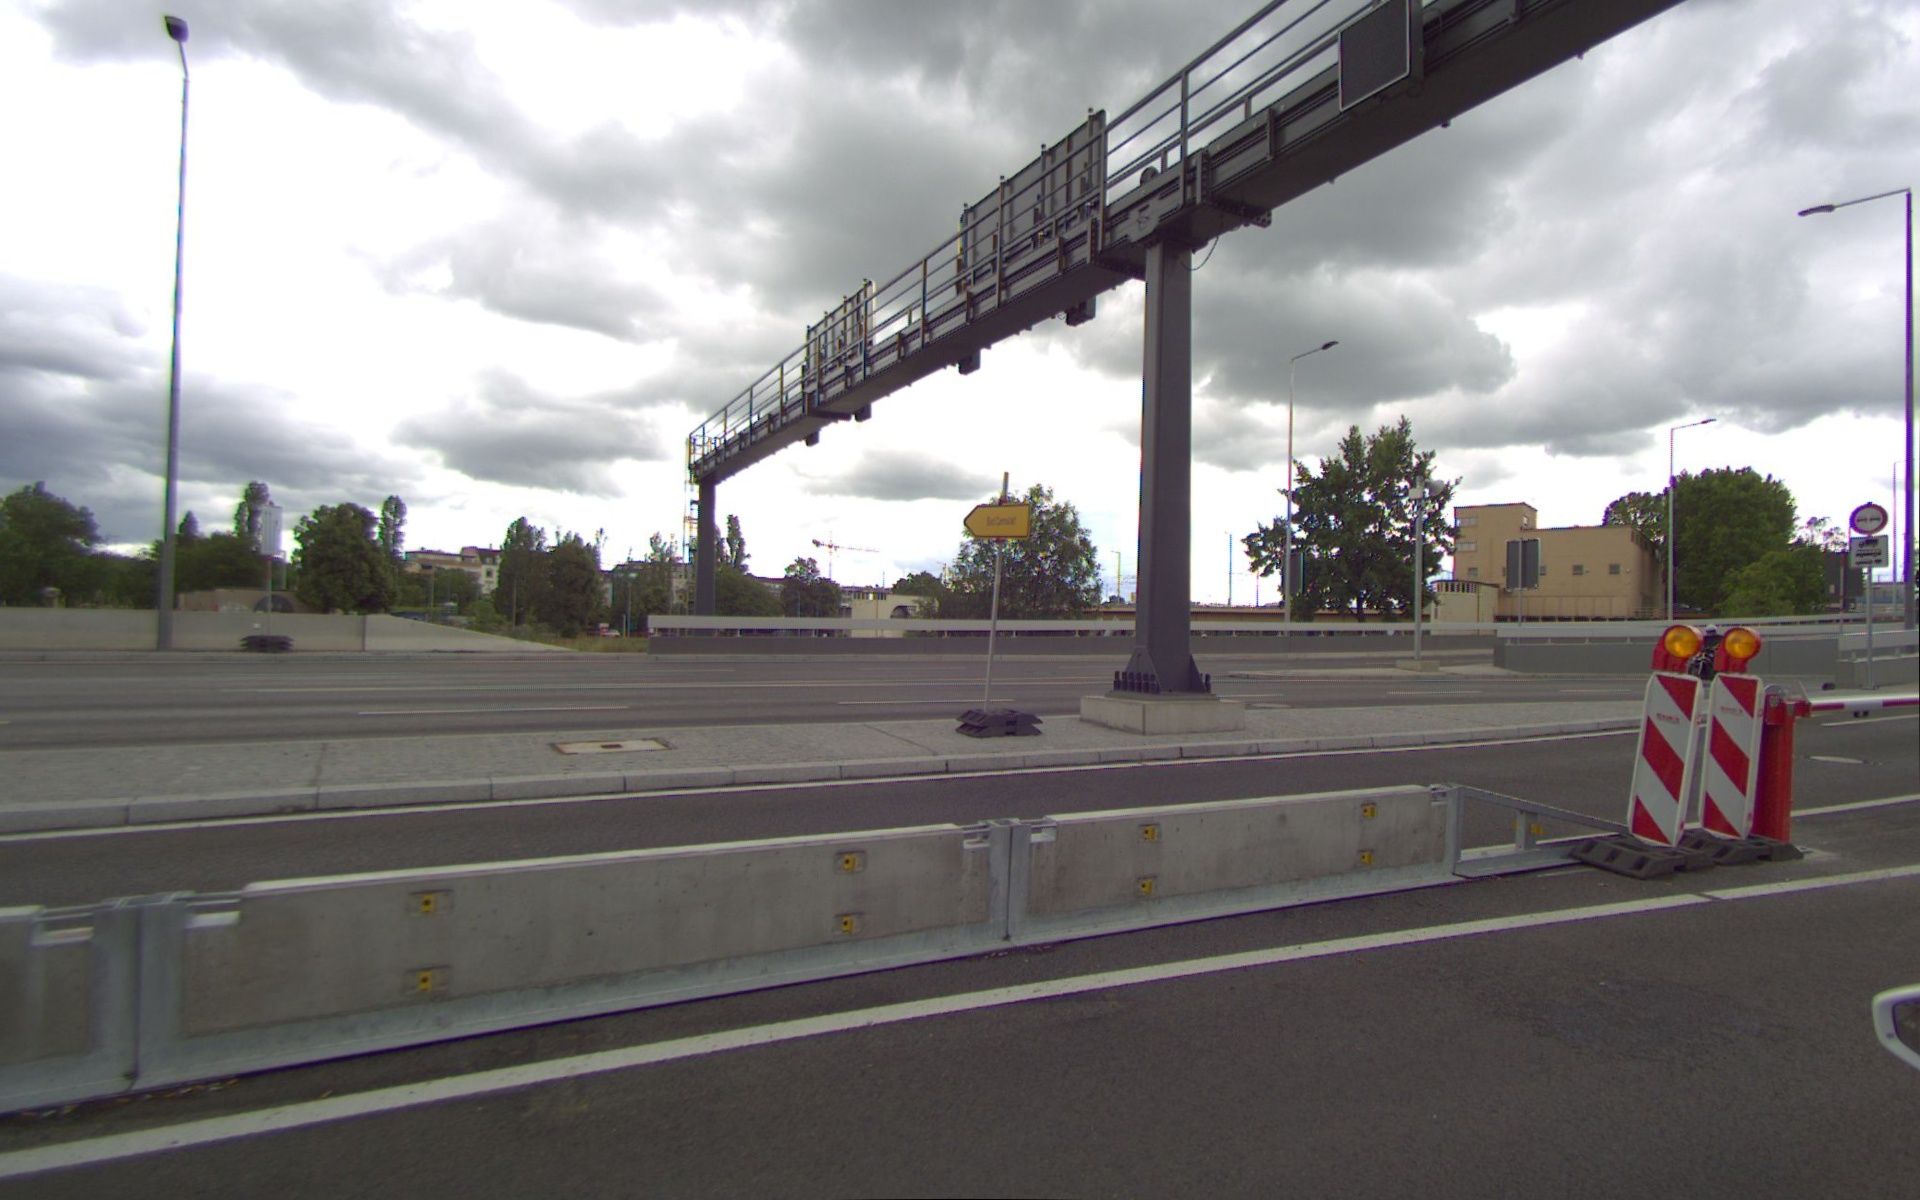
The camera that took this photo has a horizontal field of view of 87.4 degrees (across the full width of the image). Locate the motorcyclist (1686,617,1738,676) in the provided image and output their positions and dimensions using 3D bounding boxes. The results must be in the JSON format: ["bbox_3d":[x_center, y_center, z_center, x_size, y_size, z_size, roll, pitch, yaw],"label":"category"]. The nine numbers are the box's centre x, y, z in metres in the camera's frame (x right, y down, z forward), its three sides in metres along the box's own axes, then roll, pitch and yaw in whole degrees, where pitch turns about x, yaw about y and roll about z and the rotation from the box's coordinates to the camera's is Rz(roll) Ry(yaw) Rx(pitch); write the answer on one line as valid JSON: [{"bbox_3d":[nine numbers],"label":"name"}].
[{"bbox_3d":[21.484,1.326,28.701,1.087,1.627,0.663,2,0,-22],"label":"motorcyclist"}]

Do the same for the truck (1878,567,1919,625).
[{"bbox_3d":[62.935,-0.314,64.388,10.491,3.433,2.722,-1,-4,-30],"label":"truck"}]

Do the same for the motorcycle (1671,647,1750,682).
[{"bbox_3d":[21.453,1.848,28.692,2.359,0.929,0.663,3,0,-22],"label":"motorcycle"}]
